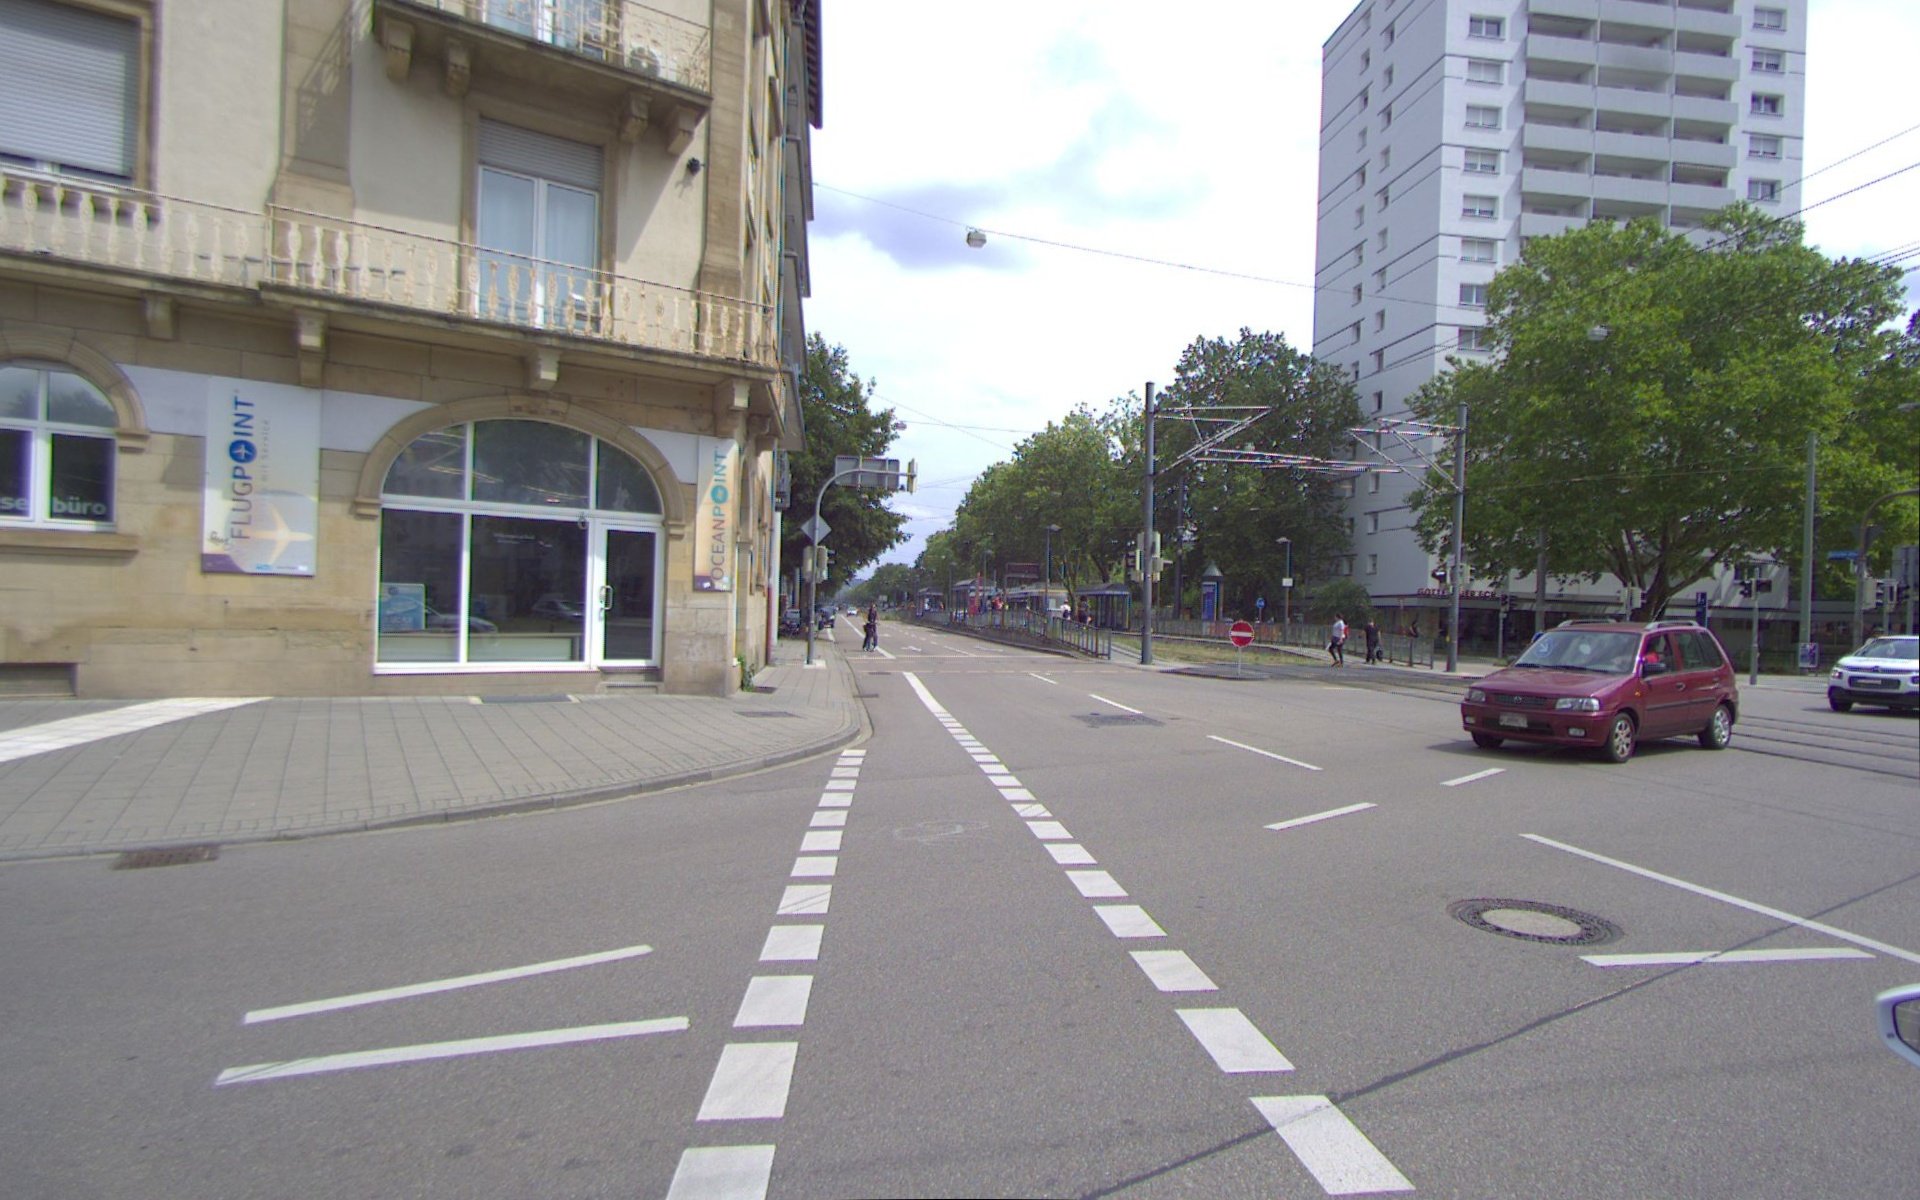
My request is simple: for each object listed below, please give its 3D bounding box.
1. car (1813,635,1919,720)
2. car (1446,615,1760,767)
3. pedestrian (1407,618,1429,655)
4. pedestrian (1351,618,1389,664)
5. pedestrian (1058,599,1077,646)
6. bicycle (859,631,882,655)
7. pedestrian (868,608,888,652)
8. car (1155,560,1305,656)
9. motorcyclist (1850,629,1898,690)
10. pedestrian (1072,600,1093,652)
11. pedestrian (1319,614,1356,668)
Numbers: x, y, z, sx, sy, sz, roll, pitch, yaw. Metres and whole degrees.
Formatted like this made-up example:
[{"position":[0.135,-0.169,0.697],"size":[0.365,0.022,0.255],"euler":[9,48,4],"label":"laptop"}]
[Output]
[{"position":[18.295,1.441,19.248],"size":[3.984,1.446,1.735],"euler":[2,-1,-30],"label":"car"},{"position":[7.682,1.001,11.937],"size":[3.762,1.528,1.584],"euler":[2,-1,-30],"label":"car"},{"position":[24.092,1.905,52.849],"size":[0.726,1.909,0.764],"euler":[2,0,-5],"label":"pedestrian"},{"position":[13.842,1.376,33.932],"size":[0.918,1.534,0.720],"euler":[2,0,-20],"label":"pedestrian"},{"position":[4.332,0.905,40.464],"size":[0.565,1.894,0.547],"euler":[1,0,-14],"label":"pedestrian"},{"position":[-3.257,1.552,36.545],"size":[0.639,0.821,1.267],"euler":[2,0,-14],"label":"bicycle"},{"position":[-3.010,1.107,36.797],"size":[0.606,1.585,0.460],"euler":[2,0,-14],"label":"pedestrian"},{"position":[12.449,0.375,47.657],"size":[3.391,3.967,9.906],"euler":[2,0,-7],"label":"car"},{"position":[21.853,1.409,24.022],"size":[0.674,1.414,0.679],"euler":[2,0,-32],"label":"motorcyclist"},{"position":[5.029,1.063,41.162],"size":[0.643,2.114,0.590],"euler":[1,0,-14],"label":"pedestrian"},{"position":[11.585,1.251,30.828],"size":[0.710,1.593,0.808],"euler":[2,0,-8],"label":"pedestrian"}]
